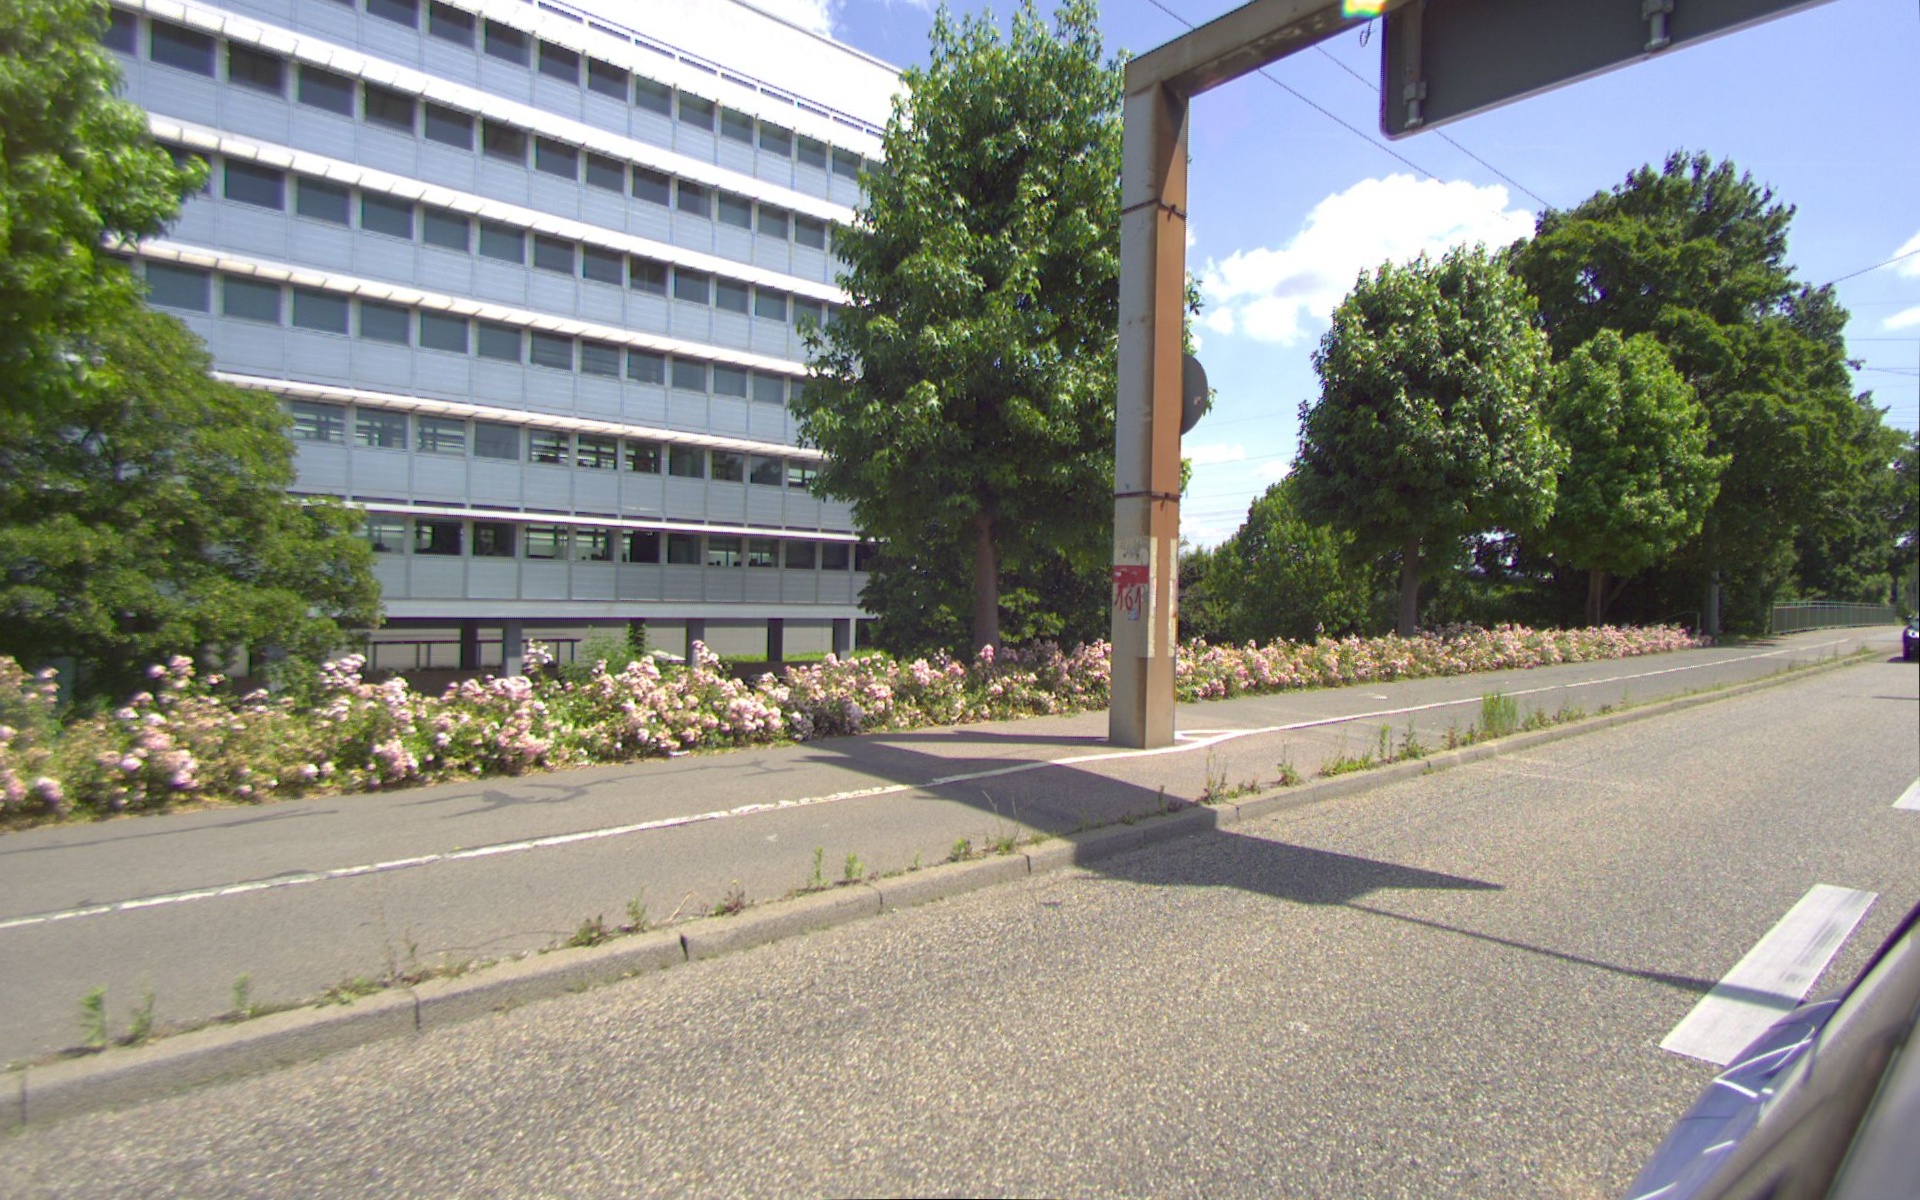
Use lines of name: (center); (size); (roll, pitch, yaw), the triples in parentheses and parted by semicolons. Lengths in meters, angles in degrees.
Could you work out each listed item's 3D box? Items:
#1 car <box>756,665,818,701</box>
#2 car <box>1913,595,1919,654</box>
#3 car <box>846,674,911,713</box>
car: (-7.852, 3.707, 45.710); (1.431, 1.302, 3.374); (0, 0, -36)
car: (25.603, 0.638, 25.649); (3.930, 1.449, 1.769); (1, 0, -42)
car: (-3.975, 4.500, 48.882); (1.517, 1.536, 3.371); (0, 0, -39)
